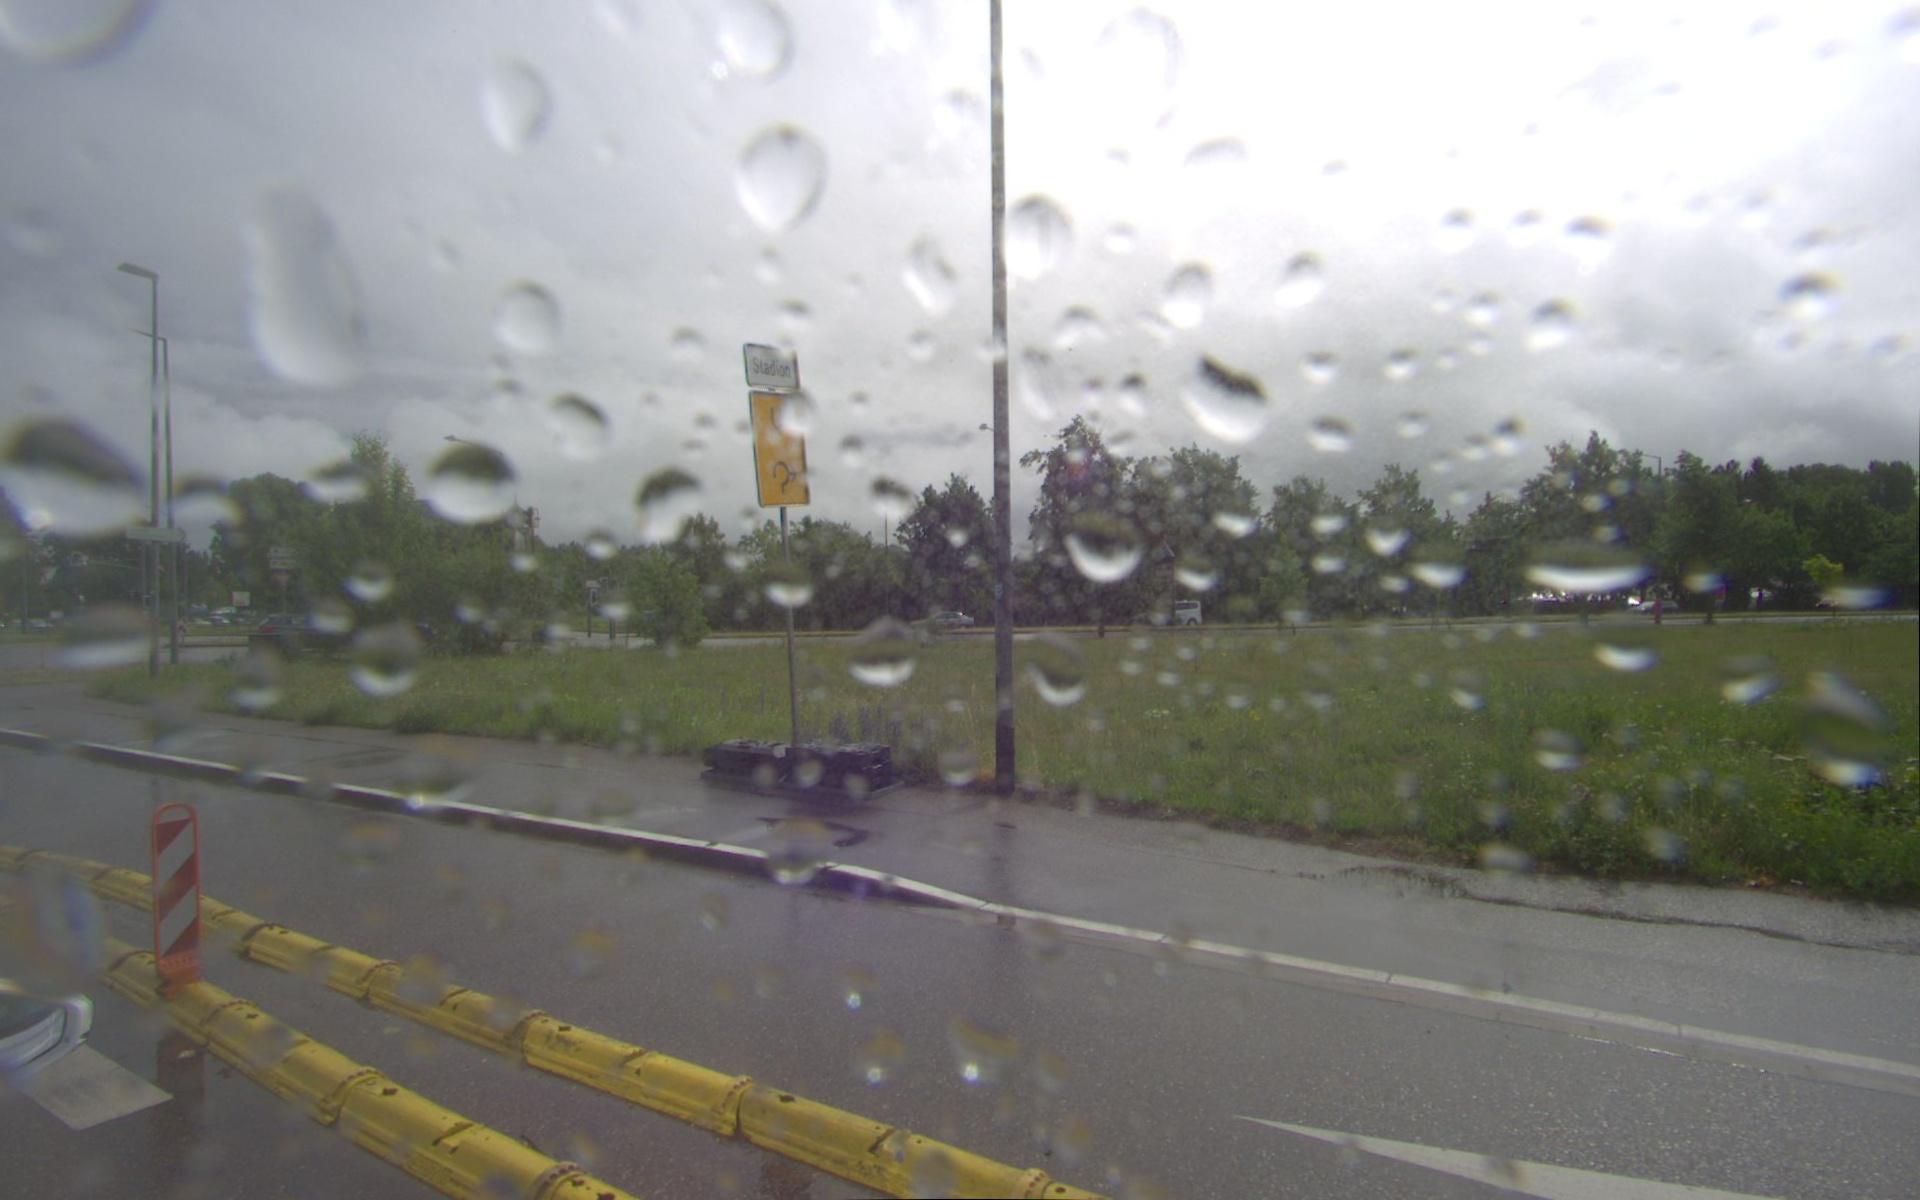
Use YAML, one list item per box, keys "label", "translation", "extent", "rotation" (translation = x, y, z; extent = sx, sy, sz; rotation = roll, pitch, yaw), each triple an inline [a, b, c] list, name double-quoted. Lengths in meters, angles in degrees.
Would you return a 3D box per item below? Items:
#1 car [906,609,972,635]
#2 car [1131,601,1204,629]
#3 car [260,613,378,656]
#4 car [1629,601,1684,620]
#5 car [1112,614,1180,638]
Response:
- label: "car"
  translation: [-1.424, 1.428, 65.829]
  extent: [4.038, 1.581, 1.912]
  rotation: [0, 0, -12]
- label: "car"
  translation: [15.249, 1.092, 73.570]
  extent: [4.873, 1.944, 1.996]
  rotation: [0, 0, -17]
- label: "car"
  translation: [-26.172, 1.368, 40.919]
  extent: [3.910, 1.666, 1.657]
  rotation: [0, -1, -40]
- label: "car"
  translation: [59.561, 0.857, 85.648]
  extent: [4.158, 1.579, 1.541]
  rotation: [0, 0, -14]
- label: "car"
  translation: [12.903, 1.769, 69.393]
  extent: [4.227, 1.581, 1.911]
  rotation: [0, 0, -15]
